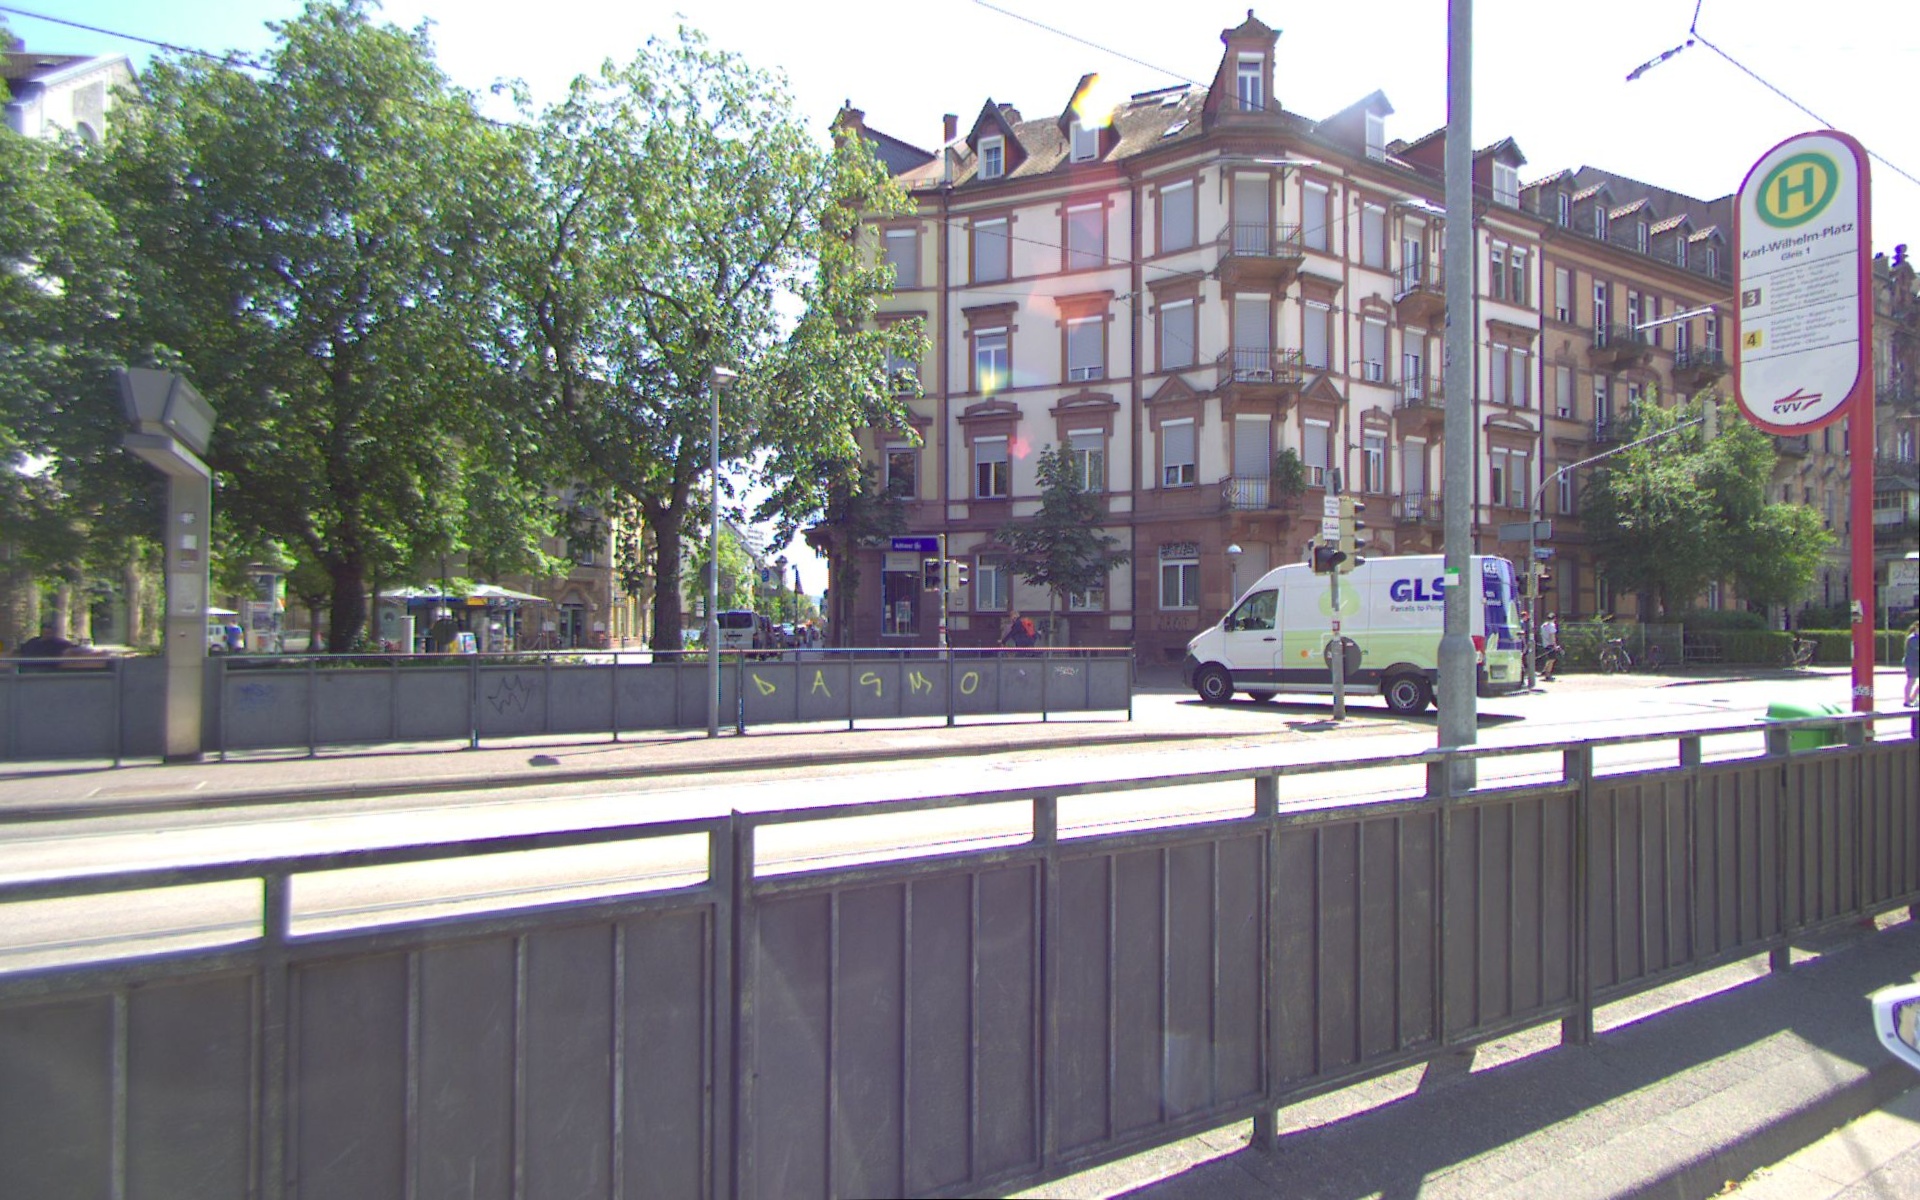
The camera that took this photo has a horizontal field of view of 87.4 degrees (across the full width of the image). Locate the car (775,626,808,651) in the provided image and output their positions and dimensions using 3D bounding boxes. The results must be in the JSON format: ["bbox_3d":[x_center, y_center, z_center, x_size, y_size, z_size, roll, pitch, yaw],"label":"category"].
[{"bbox_3d":[-12.489,2.841,74.754,1.962,1.617,3.998,2,0,-4],"label":"car"}]

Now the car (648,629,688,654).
[{"bbox_3d":[-20.665,2.915,71.160,1.846,1.617,3.998,2,0,-4],"label":"car"}]

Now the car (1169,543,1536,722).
[{"bbox_3d":[6.812,0.575,18.058,2.258,2.708,5.754,2,-2,-43],"label":"car"}]

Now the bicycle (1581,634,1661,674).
[{"bbox_3d":[20.223,1.642,30.713,2.742,1.151,0.932,2,0,-31],"label":"bicycle"}]

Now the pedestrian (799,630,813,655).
[{"bbox_3d":[-9.898,2.712,64.492,0.790,1.632,0.731,0,-1,-4],"label":"pedestrian"}]

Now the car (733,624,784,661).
[{"bbox_3d":[-9.631,2.009,48.285,1.893,1.541,3.998,2,0,-4],"label":"car"}]

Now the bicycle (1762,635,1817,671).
[{"bbox_3d":[28.507,1.799,34.498,2.750,1.151,0.930,2,0,-39],"label":"bicycle"}]

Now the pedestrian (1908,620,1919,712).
[{"bbox_3d":[17.913,1.221,18.353,0.551,1.667,0.673,2,0,-25],"label":"pedestrian"}]

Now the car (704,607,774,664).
[{"bbox_3d":[-8.333,1.297,38.213,1.962,1.970,3.998,2,0,-4],"label":"car"}]

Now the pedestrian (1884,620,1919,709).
[{"bbox_3d":[18.445,1.242,19.419,0.551,1.667,0.673,2,0,-25],"label":"pedestrian"}]

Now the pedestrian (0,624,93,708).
[{"bbox_3d":[-14.665,1.043,16.101,0.925,1.261,0.860,2,0,-24],"label":"pedestrian"}]

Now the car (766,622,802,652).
[{"bbox_3d":[-10.378,2.175,59.450,1.684,1.617,3.998,2,0,-4],"label":"car"}]

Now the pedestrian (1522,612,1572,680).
[{"bbox_3d":[16.419,1.277,28.116,0.860,1.847,0.815,0,1,-18],"label":"pedestrian"}]

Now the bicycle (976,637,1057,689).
[{"bbox_3d":[1.399,1.529,24.831,1.889,1.188,0.648,1,-1,21],"label":"bicycle"}]

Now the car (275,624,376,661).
[{"bbox_3d":[-32.081,2.159,50.887,3.920,1.730,1.761,2,0,-14],"label":"car"}]

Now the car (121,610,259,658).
[{"bbox_3d":[-31.194,1.367,40.811,3.932,1.814,1.994,2,0,-14],"label":"car"}]

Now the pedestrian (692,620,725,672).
[{"bbox_3d":[-8.419,1.545,33.642,1.043,1.712,0.721,0,-1,-12],"label":"pedestrian"}]

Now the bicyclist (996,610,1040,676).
[{"bbox_3d":[1.424,1.055,24.726,0.881,1.582,0.722,1,-1,20],"label":"bicyclist"}]

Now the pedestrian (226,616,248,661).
[{"bbox_3d":[-27.328,1.453,37.971,0.506,1.692,0.491,0,-1,-8],"label":"pedestrian"}]
